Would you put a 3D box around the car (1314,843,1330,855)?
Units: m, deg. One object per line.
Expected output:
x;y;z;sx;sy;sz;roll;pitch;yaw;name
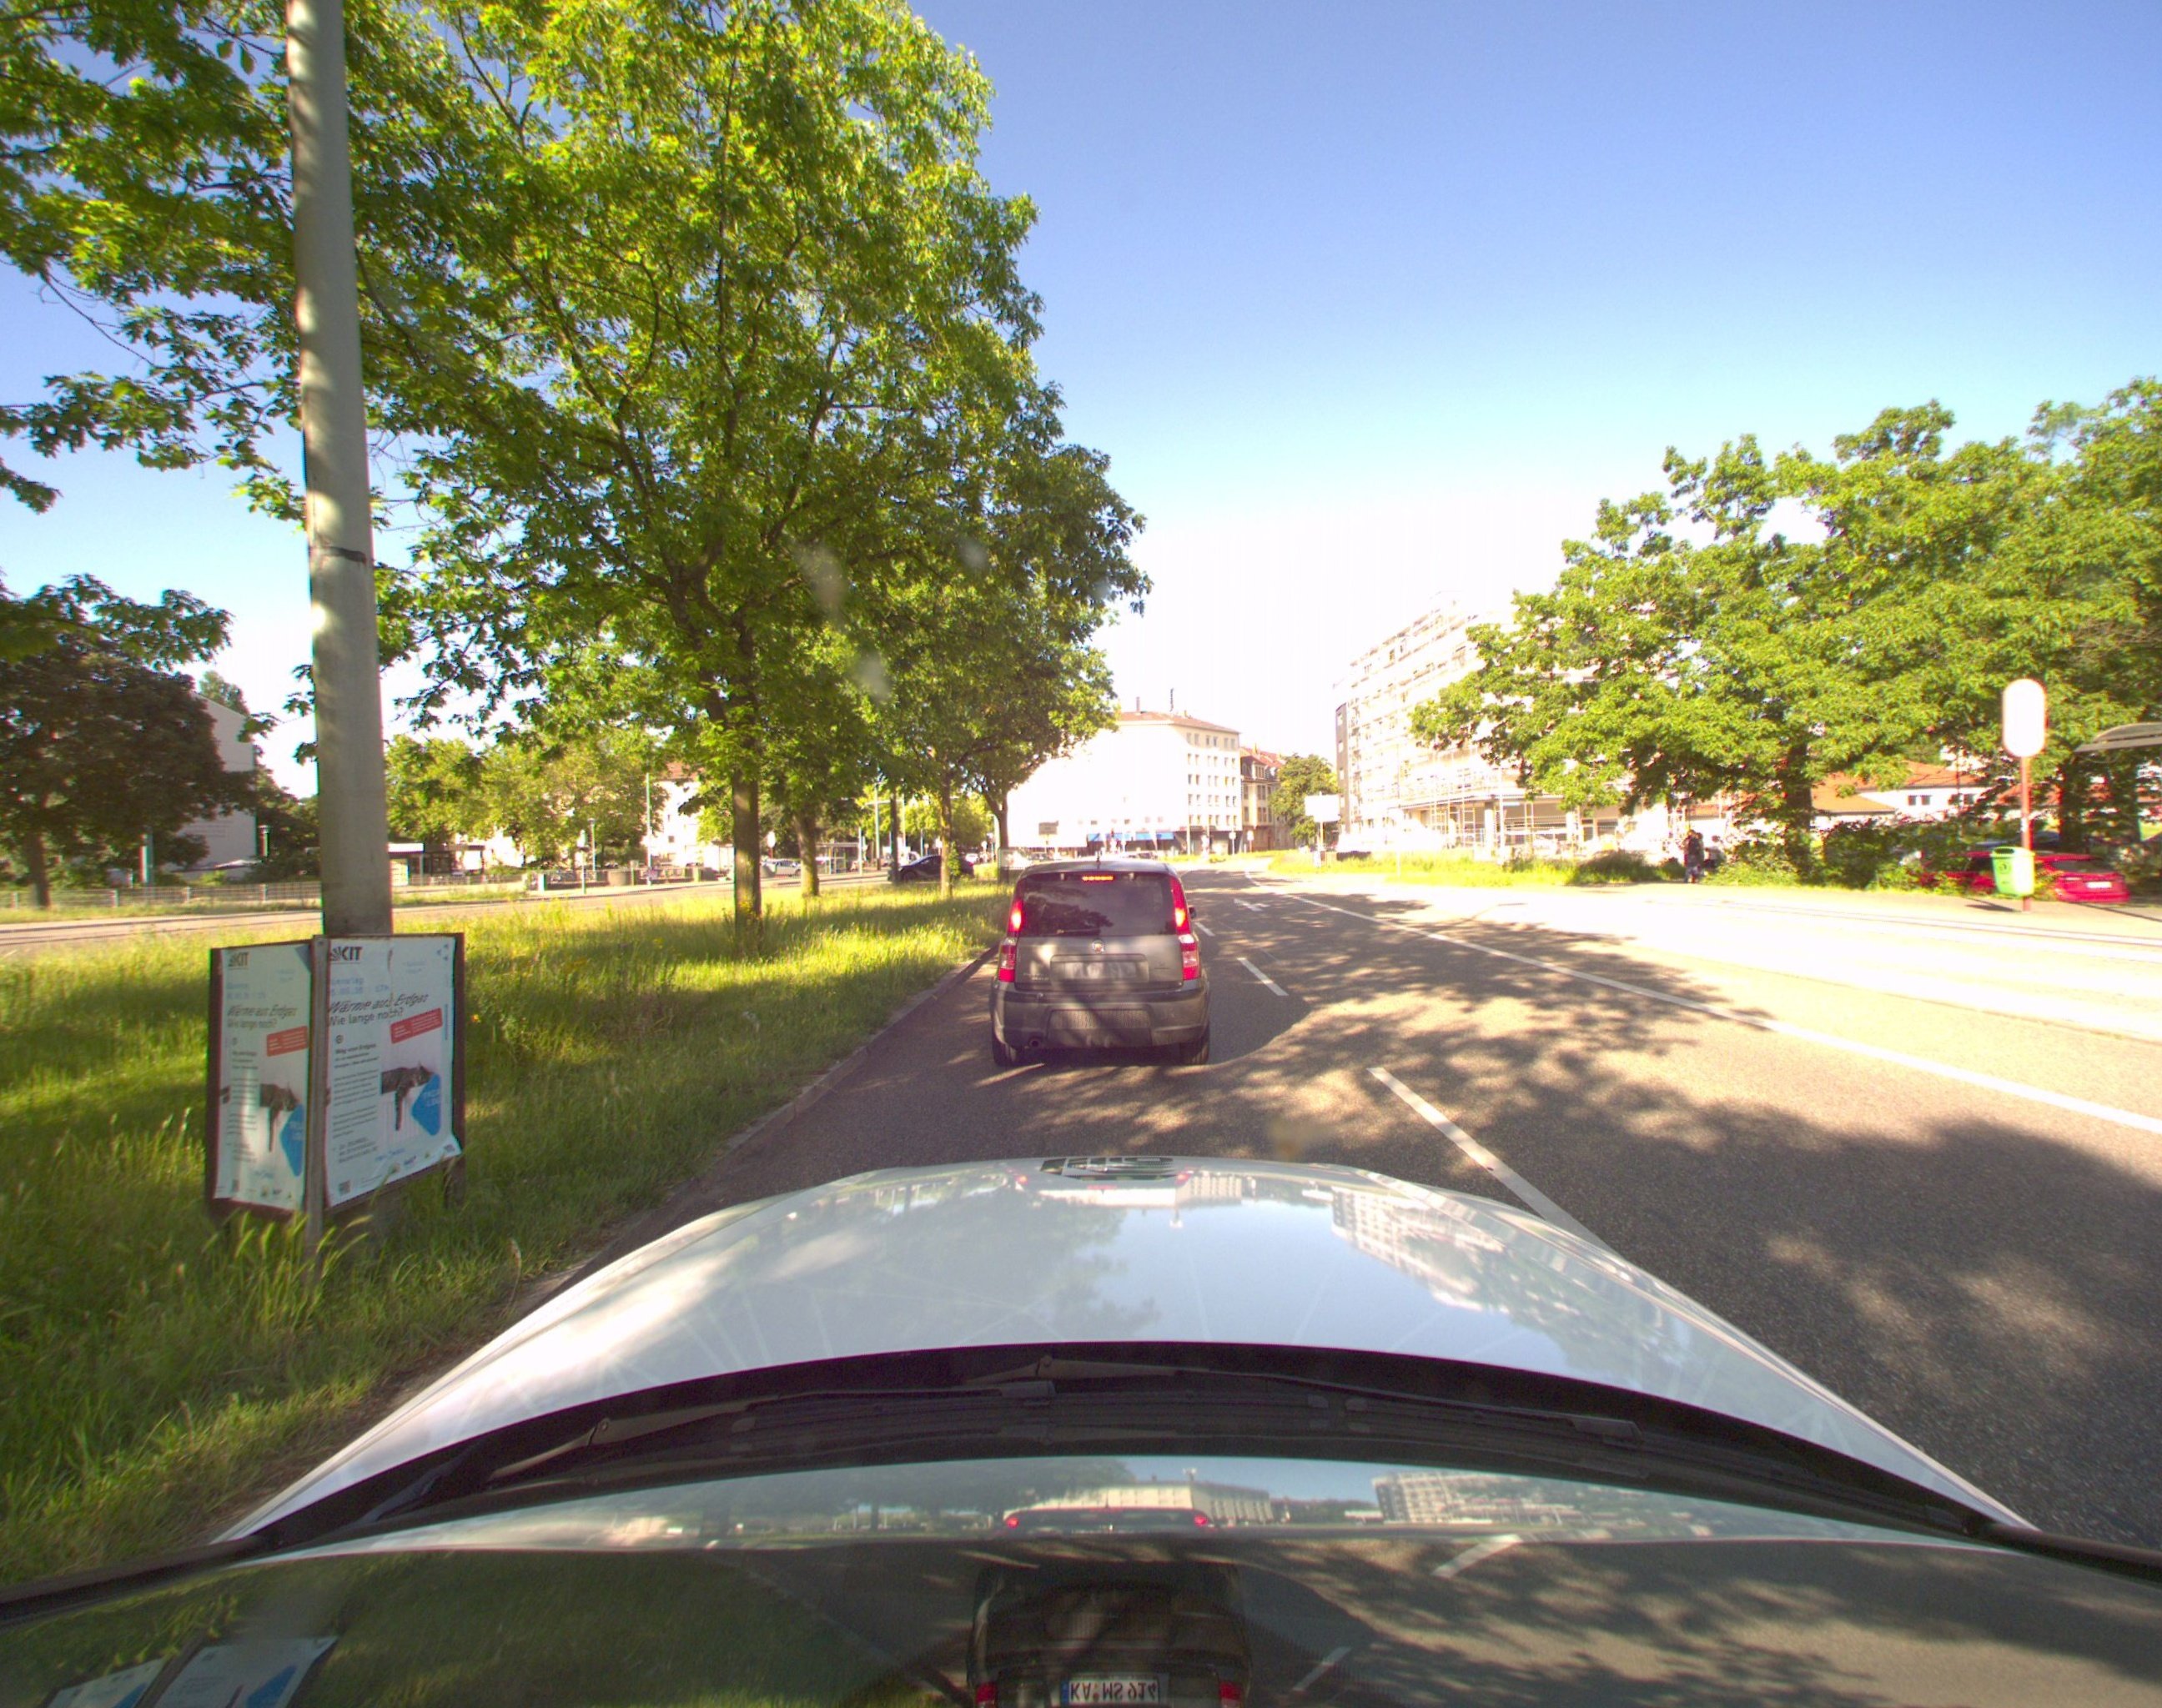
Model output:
27.626;-0.594;93.432;1.514;1.314;3.304;-2;0;20;car

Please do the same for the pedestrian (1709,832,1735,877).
20.897;0.013;26.553;0.516;1.447;0.595;-2;0;28;pedestrian

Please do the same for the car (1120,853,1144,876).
3.095;0.616;49.683;1.351;1.281;2.877;-2;0;2;car

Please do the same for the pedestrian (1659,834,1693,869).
28.306;-0.122;38.750;0.893;1.653;0.979;-2;0;-26;pedestrian

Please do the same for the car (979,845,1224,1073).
0.204;0.702;7.540;1.622;1.508;4.002;-2;0;2;car

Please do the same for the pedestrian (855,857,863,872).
-21.071;0.950;77.245;0.411;1.391;0.630;-2;0;28;pedestrian

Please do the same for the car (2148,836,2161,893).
29.862;0.256;20.183;1.911;1.486;3.725;-2;0;-17;car

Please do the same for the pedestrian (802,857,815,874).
-26.245;1.132;78.563;0.910;1.607;0.802;-2;0;41;pedestrian

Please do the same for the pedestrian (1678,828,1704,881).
18.543;0.012;24.778;0.516;1.612;0.595;-2;0;28;pedestrian

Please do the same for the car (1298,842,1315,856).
24.915;-0.543;90.002;1.669;1.449;3.588;-2;0;18;car

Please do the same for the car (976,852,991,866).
-14.842;0.700;124.165;1.988;2.013;3.997;-2;0;-2;car

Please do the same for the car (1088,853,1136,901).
1.028;0.725;27.360;1.458;1.424;3.383;-2;1;2;car

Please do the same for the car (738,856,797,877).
-27.319;1.063;71.072;1.974;1.684;4.348;-2;0;40;car

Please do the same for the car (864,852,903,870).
-23.945;0.884;98.949;4.164;2.013;1.931;-2;0;-1;car

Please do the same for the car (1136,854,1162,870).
4.865;0.571;57.721;1.133;1.064;2.735;-2;0;19;car

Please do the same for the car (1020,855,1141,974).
0.049;0.746;11.768;1.458;1.401;3.395;-2;0;2;car

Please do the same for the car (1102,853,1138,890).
1.601;0.690;33.972;1.351;1.449;3.267;-2;0;2;car

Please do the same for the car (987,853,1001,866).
-14.261;0.884;133.876;1.988;2.013;3.997;-2;0;-2;car

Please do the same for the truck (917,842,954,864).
-23.008;-0.152;128.576;5.425;3.168;2.358;-2;0;30;truck

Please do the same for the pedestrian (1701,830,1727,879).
19.215;0.012;24.732;0.516;1.447;0.595;-2;0;28;pedestrian

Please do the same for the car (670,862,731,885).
-31.193;1.552;66.837;1.974;1.684;4.025;-2;0;40;car

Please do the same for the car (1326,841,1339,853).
33.465;-0.926;108.417;1.514;1.469;3.304;-2;0;20;car

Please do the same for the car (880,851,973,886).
-8.125;0.718;42.915;4.470;1.647;1.816;-2;0;-27;car

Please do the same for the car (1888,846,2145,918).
21.986;0.597;19.380;1.747;1.486;3.743;-2;0;-2;car

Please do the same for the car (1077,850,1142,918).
0.723;0.697;20.739;1.458;1.508;3.506;-2;1;2;car

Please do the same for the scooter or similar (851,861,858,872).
-21.342;1.181;76.728;0.416;0.927;0.537;-2;0;28;scooter or similar

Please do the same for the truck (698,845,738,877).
-33.076;0.625;74.209;2.012;2.805;3.951;-2;0;-44;truck
